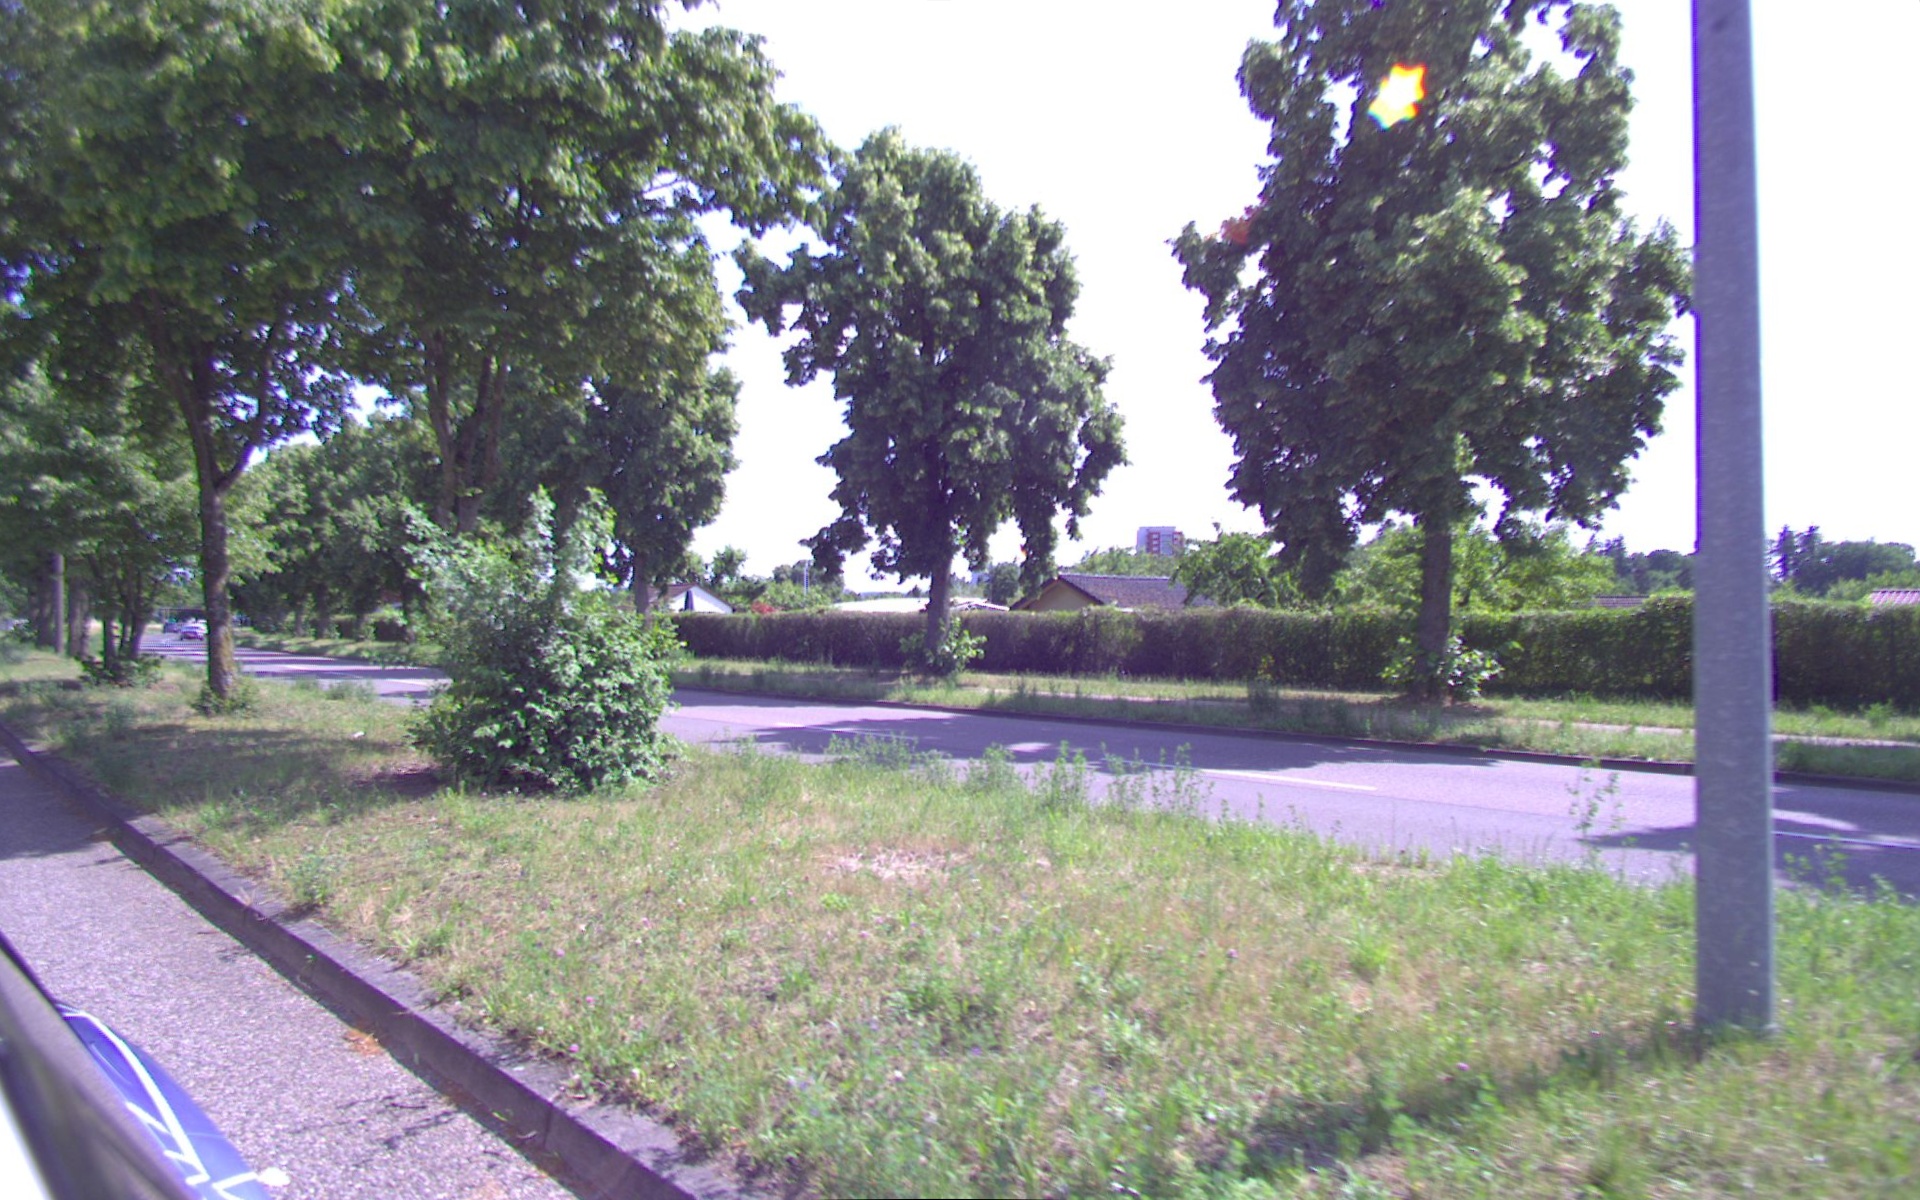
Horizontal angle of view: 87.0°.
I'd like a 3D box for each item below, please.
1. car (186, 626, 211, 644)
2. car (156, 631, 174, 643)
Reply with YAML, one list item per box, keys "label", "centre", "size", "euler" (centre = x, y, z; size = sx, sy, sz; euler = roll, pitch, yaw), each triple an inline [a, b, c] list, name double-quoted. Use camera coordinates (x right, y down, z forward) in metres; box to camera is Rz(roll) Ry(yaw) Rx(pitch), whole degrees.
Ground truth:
- label: "car"
  centre: [-69.676, 3.217, 92.576]
  size: [1.714, 1.598, 4.120]
  euler: [3, -3, -38]
- label: "car"
  centre: [-112.531, 5.216, 143.301]
  size: [1.713, 1.598, 4.122]
  euler: [2, -3, -35]
